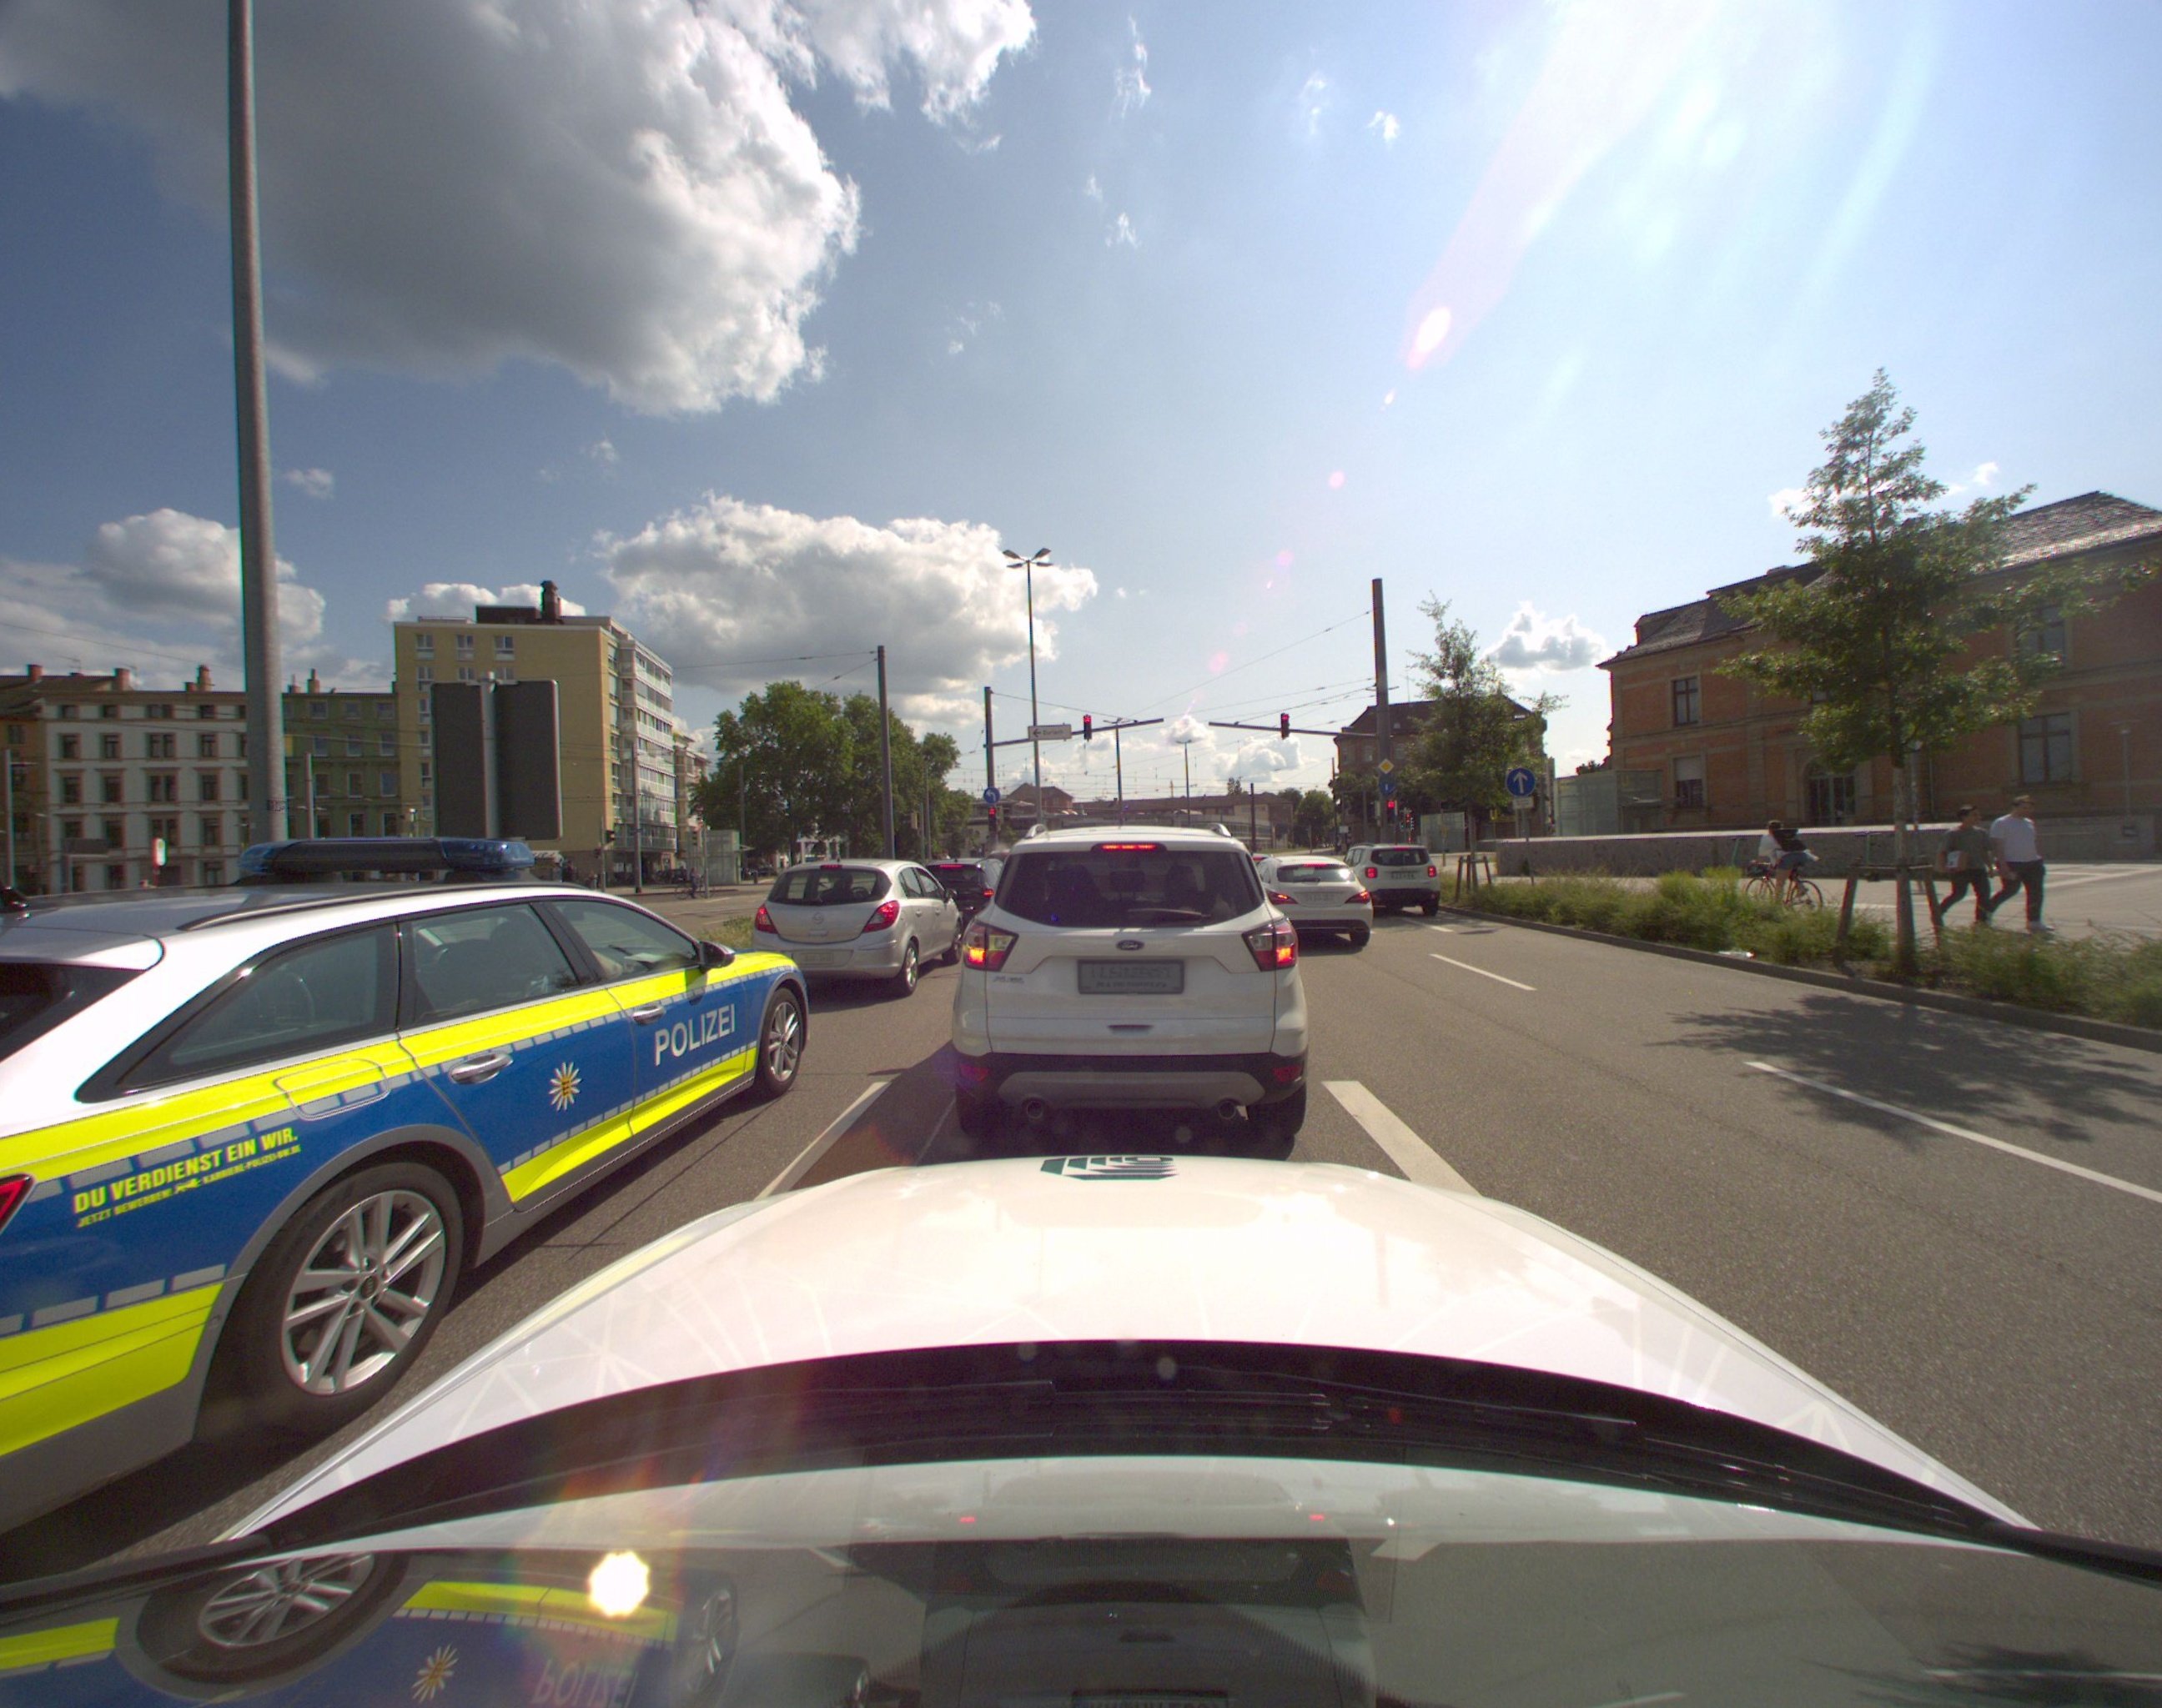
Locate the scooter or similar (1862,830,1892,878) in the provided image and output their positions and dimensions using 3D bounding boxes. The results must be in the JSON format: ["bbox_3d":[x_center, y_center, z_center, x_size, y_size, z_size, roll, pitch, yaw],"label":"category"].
[{"bbox_3d":[19.696,-0.003,20.149,1.326,1.104,0.460,-4,0,-44],"label":"scooter or similar"}]

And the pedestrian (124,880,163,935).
[{"bbox_3d":[-31.836,1.782,27.662,0.772,1.797,1.016,0,-1,-44],"label":"pedestrian"}]

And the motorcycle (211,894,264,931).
[{"bbox_3d":[-30.645,2.119,29.597,1.436,1.236,0.484,-3,-1,3],"label":"motorcycle"}]

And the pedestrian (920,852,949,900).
[{"bbox_3d":[-5.277,0.791,29.343,0.844,1.648,0.693,-3,-1,1],"label":"pedestrian"}]

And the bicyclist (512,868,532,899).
[{"bbox_3d":[-32.384,1.701,47.172,0.779,1.797,0.706,0,-1,-16],"label":"bicyclist"}]

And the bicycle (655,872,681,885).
[{"bbox_3d":[-38.042,2.242,75.009,1.948,1.147,0.792,-2,0,-17],"label":"bicycle"}]

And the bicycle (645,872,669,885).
[{"bbox_3d":[-38.355,2.220,73.712,1.808,1.147,0.792,-2,0,-17],"label":"bicycle"}]

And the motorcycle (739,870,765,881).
[{"bbox_3d":[-31.409,2.014,77.769,0.801,0.917,2.057,-2,1,39],"label":"motorcycle"}]

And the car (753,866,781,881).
[{"bbox_3d":[-32.482,2.040,84.401,1.905,1.413,3.986,-3,-1,-10],"label":"car"}]

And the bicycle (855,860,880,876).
[{"bbox_3d":[-19.794,1.321,75.579,2.171,1.414,0.808,-1,0,-14],"label":"bicycle"}]

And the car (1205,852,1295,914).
[{"bbox_3d":[4.223,0.686,20.848,1.841,1.419,3.684,-1,0,5],"label":"car"}]

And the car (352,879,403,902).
[{"bbox_3d":[-51.471,2.674,59.557,3.849,1.496,1.912,-3,-2,35],"label":"car"}]

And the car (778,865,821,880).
[{"bbox_3d":[-30.265,1.998,87.498,3.975,1.327,1.632,-3,-1,-1],"label":"car"}]

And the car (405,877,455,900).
[{"bbox_3d":[-48.051,2.537,60.112,3.849,1.496,1.912,-3,-2,35],"label":"car"}]

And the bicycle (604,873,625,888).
[{"bbox_3d":[-41.316,2.308,72.093,0.792,1.258,1.808,-2,0,-2],"label":"bicycle"}]

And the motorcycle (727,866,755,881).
[{"bbox_3d":[-30.457,1.783,72.900,2.193,1.238,0.910,-2,1,19],"label":"motorcycle"}]

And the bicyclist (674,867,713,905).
[{"bbox_3d":[-18.589,1.519,39.081,1.293,1.731,0.994,-3,-1,-1],"label":"bicyclist"}]

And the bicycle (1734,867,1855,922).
[{"bbox_3d":[11.437,0.625,13.121,0.582,0.775,1.623,-2,0,4],"label":"bicycle"}]

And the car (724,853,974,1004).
[{"bbox_3d":[-2.621,0.761,10.257,1.841,1.474,4.002,-2,0,2],"label":"car"}]

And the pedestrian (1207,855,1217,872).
[{"bbox_3d":[13.049,0.958,81.112,0.582,1.744,0.932,-1,-1,40],"label":"pedestrian"}]

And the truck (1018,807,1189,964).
[{"bbox_3d":[0.473,0.441,14.271,2.329,2.155,5.857,-1,0,3],"label":"truck"}]

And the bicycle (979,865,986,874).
[{"bbox_3d":[-12.886,1.975,106.527,0.635,1.125,1.786,-2,0,4],"label":"bicycle"}]

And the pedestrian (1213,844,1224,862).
[{"bbox_3d":[13.610,-0.070,80.632,0.582,1.744,0.932,-1,-1,40],"label":"pedestrian"}]

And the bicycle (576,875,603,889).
[{"bbox_3d":[-42.394,2.399,70.225,1.808,1.104,0.792,-2,0,-18],"label":"bicycle"}]

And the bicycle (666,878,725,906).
[{"bbox_3d":[-18.498,1.819,39.080,2.286,1.188,0.994,-3,-1,-1],"label":"bicycle"}]

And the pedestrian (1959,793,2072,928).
[{"bbox_3d":[12.680,0.084,11.085,0.735,1.746,0.895,-5,-1,38],"label":"pedestrian"}]

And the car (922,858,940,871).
[{"bbox_3d":[-22.927,1.638,124.653,1.963,1.937,4.227,-4,-1,-2],"label":"car"}]

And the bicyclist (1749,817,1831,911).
[{"bbox_3d":[11.416,0.154,13.133,0.606,1.451,0.775,-2,0,2],"label":"bicyclist"}]

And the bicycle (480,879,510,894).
[{"bbox_3d":[-49.378,2.741,68.644,1.808,1.104,0.792,-2,0,-18],"label":"bicycle"}]

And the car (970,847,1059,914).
[{"bbox_3d":[-1.692,0.656,22.299,2.033,1.578,4.538,-1,0,0],"label":"car"}]

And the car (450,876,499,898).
[{"bbox_3d":[-45.963,2.484,61.676,3.849,1.496,1.912,-3,-2,36],"label":"car"}]

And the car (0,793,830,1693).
[{"bbox_3d":[-2.802,0.707,3.504,1.873,1.568,4.616,-2,0,1],"label":"car"}]

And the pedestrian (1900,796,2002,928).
[{"bbox_3d":[12.177,0.106,11.434,0.735,1.754,0.895,-5,-1,38],"label":"pedestrian"}]

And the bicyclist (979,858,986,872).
[{"bbox_3d":[-12.898,1.468,106.591,0.635,1.738,0.663,-1,0,4],"label":"bicyclist"}]

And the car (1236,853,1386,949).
[{"bbox_3d":[3.793,0.712,14.051,1.841,1.419,3.684,-1,0,5],"label":"car"}]

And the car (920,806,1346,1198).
[{"bbox_3d":[0.395,0.645,5.501,1.818,1.664,3.961,-1,0,5],"label":"car"}]

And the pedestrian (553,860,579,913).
[{"bbox_3d":[-19.077,1.183,30.206,0.770,1.903,0.819,0,-1,-30],"label":"pedestrian"}]

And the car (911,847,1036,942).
[{"bbox_3d":[-1.968,0.692,16.214,1.756,1.568,4.528,-2,0,1],"label":"car"}]

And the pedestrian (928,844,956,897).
[{"bbox_3d":[-5.141,0.620,30.182,0.844,1.917,0.693,-3,-1,1],"label":"pedestrian"}]

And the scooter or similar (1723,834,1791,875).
[{"bbox_3d":[19.398,0.016,23.404,0.466,1.118,1.438,-3,0,-18],"label":"scooter or similar"}]

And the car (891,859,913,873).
[{"bbox_3d":[-27.543,1.829,125.616,1.960,1.937,5.070,-4,-1,1],"label":"car"}]

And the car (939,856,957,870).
[{"bbox_3d":[-20.293,1.448,124.336,1.989,2.014,4.227,-4,-1,-2],"label":"car"}]

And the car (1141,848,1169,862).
[{"bbox_3d":[8.538,0.067,93.681,1.882,1.461,3.991,-3,0,24],"label":"car"}]

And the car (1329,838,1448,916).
[{"bbox_3d":[7.320,0.523,19.796,1.826,1.652,4.009,-1,-1,8],"label":"car"}]
